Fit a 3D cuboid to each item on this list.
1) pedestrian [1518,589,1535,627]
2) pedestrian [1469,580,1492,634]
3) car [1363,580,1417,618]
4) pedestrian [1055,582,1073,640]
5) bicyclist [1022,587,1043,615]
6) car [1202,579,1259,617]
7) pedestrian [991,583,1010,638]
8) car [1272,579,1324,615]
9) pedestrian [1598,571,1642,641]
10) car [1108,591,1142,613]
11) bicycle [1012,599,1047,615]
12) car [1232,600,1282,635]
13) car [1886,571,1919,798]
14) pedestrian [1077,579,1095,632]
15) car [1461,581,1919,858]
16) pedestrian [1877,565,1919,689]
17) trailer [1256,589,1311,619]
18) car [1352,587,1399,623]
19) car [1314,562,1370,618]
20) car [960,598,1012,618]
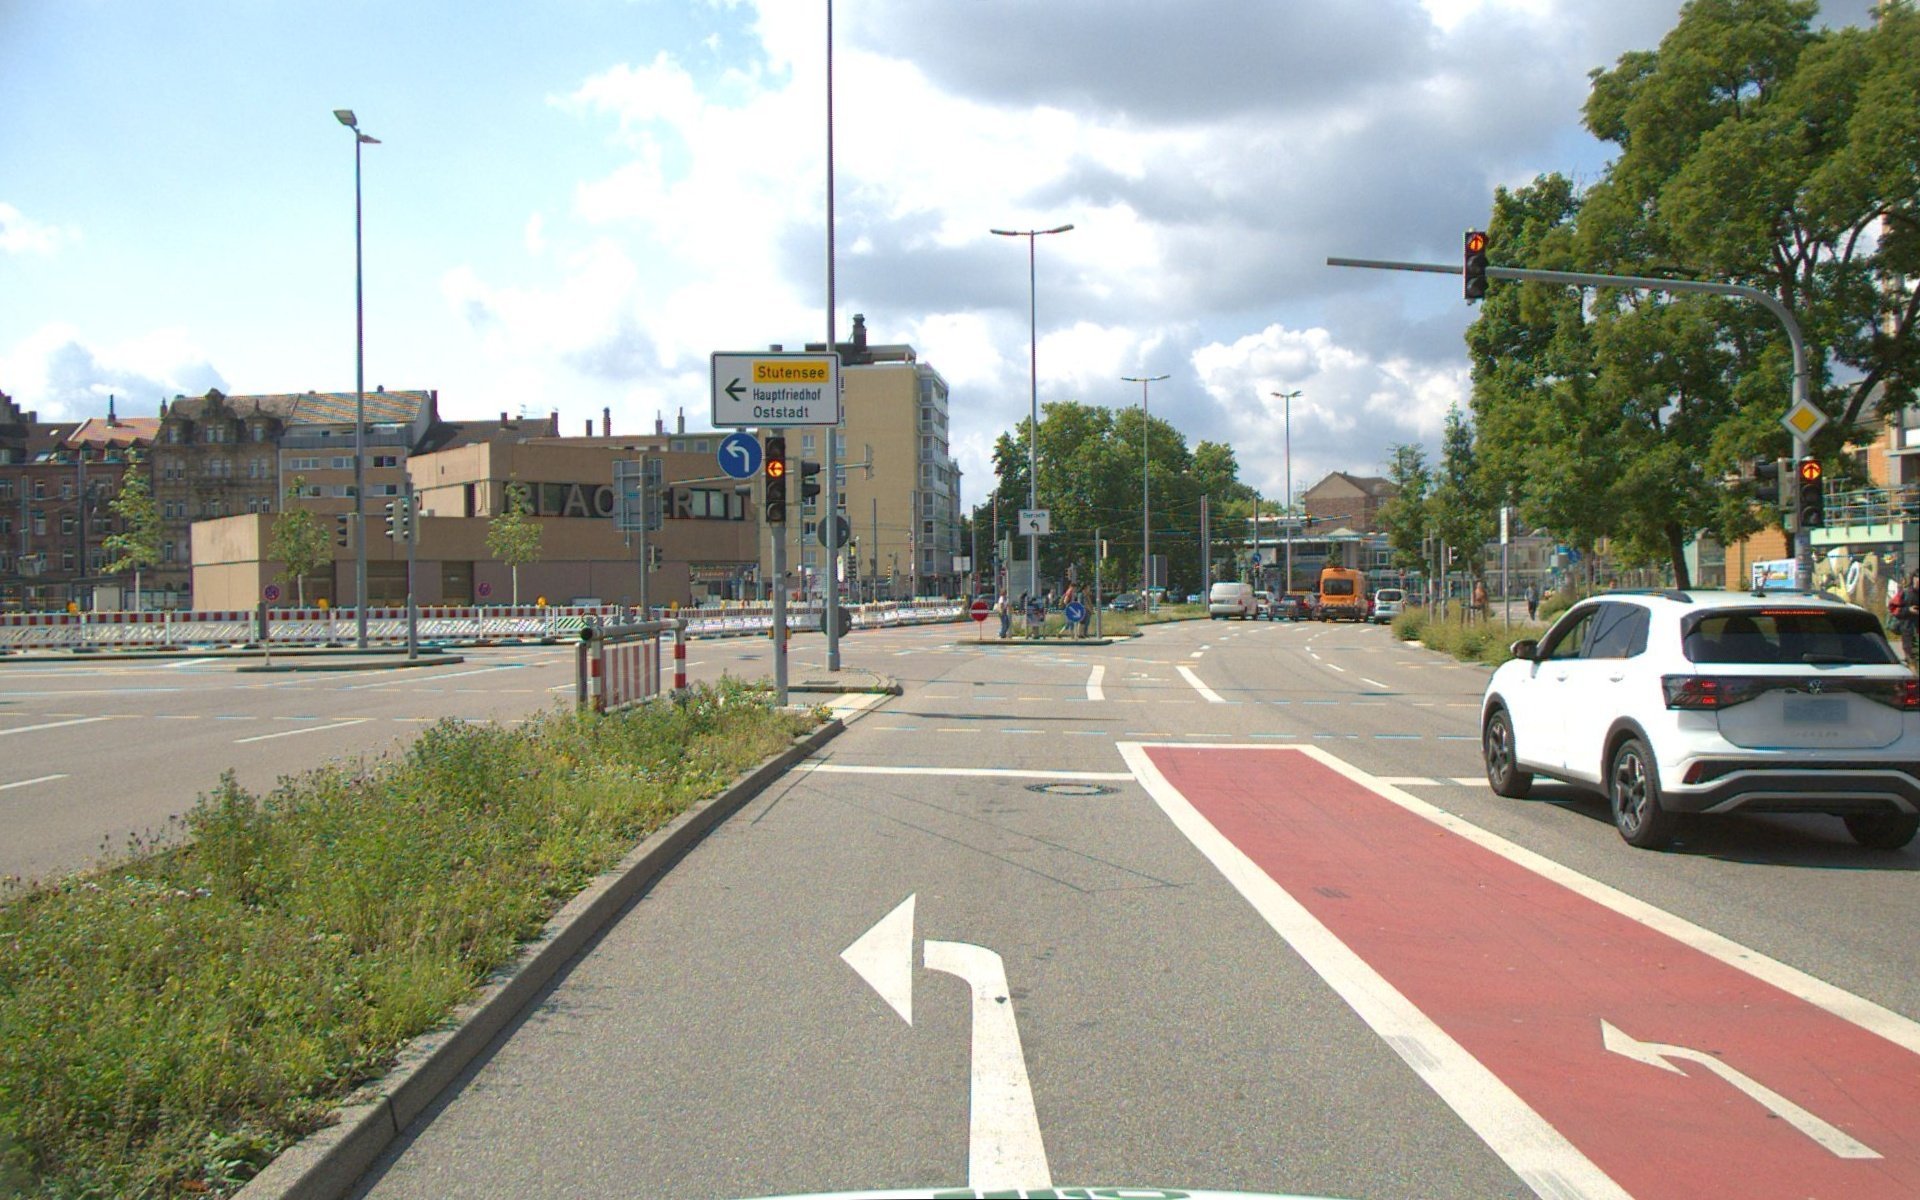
[{"bbox_3d":[27.179,0.387,79.348,0.771,1.815,0.667,-1,0,20],"label":"pedestrian"},{"bbox_3d":[17.053,0.227,54.158,0.646,1.764,0.578,-1,0,13],"label":"pedestrian"},{"bbox_3d":[21.806,-0.081,83.770,1.954,1.826,3.998,-1,0,24],"label":"car"},{"bbox_3d":[3.234,0.336,51.438,0.513,1.764,0.624,-1,0,8],"label":"pedestrian"},{"bbox_3d":[5.043,0.058,115.131,1.194,1.943,0.858,-1,0,20],"label":"bicyclist"},{"bbox_3d":[14.724,-0.129,89.832,1.965,2.001,4.638,-1,0,23],"label":"car"},{"bbox_3d":[1.295,0.334,53.019,0.513,1.764,0.624,-1,0,8],"label":"pedestrian"},{"bbox_3d":[18.570,-0.167,90.638,1.953,1.858,3.998,-1,0,24],"label":"car"},{"bbox_3d":[14.559,0.131,36.506,0.754,1.534,0.552,0,0,4],"label":"pedestrian"},{"bbox_3d":[10.808,0.135,108.018,1.754,1.412,4.231,0,0,12],"label":"car"},{"bbox_3d":[4.848,0.490,115.202,2.329,1.085,0.858,-1,0,20],"label":"bicycle"},{"bbox_3d":[17.550,1.001,97.526,1.951,1.972,4.638,-1,0,23],"label":"car"},{"bbox_3d":[7.922,0.633,10.401,1.647,1.670,4.462,0,0,-1],"label":"car"},{"bbox_3d":[4.081,0.166,53.514,0.513,1.713,0.624,-1,0,8],"label":"pedestrian"},{"bbox_3d":[4.987,0.675,11.484,1.754,1.566,4.011,1,0,-1],"label":"car"},{"bbox_3d":[13.726,0.381,23.831,0.726,1.766,0.679,-1,0,15],"label":"pedestrian"},{"bbox_3d":[17.117,0.190,87.385,1.953,1.503,3.998,-1,0,24],"label":"trailer"},{"bbox_3d":[24.113,0.276,95.818,1.951,1.972,4.638,-1,0,23],"label":"car"},{"bbox_3d":[20.126,-0.542,87.043,2.086,2.829,4.638,-1,0,23],"label":"car"},{"bbox_3d":[2.118,0.647,134.598,3.962,1.506,1.669,2,1,11],"label":"car"}]
